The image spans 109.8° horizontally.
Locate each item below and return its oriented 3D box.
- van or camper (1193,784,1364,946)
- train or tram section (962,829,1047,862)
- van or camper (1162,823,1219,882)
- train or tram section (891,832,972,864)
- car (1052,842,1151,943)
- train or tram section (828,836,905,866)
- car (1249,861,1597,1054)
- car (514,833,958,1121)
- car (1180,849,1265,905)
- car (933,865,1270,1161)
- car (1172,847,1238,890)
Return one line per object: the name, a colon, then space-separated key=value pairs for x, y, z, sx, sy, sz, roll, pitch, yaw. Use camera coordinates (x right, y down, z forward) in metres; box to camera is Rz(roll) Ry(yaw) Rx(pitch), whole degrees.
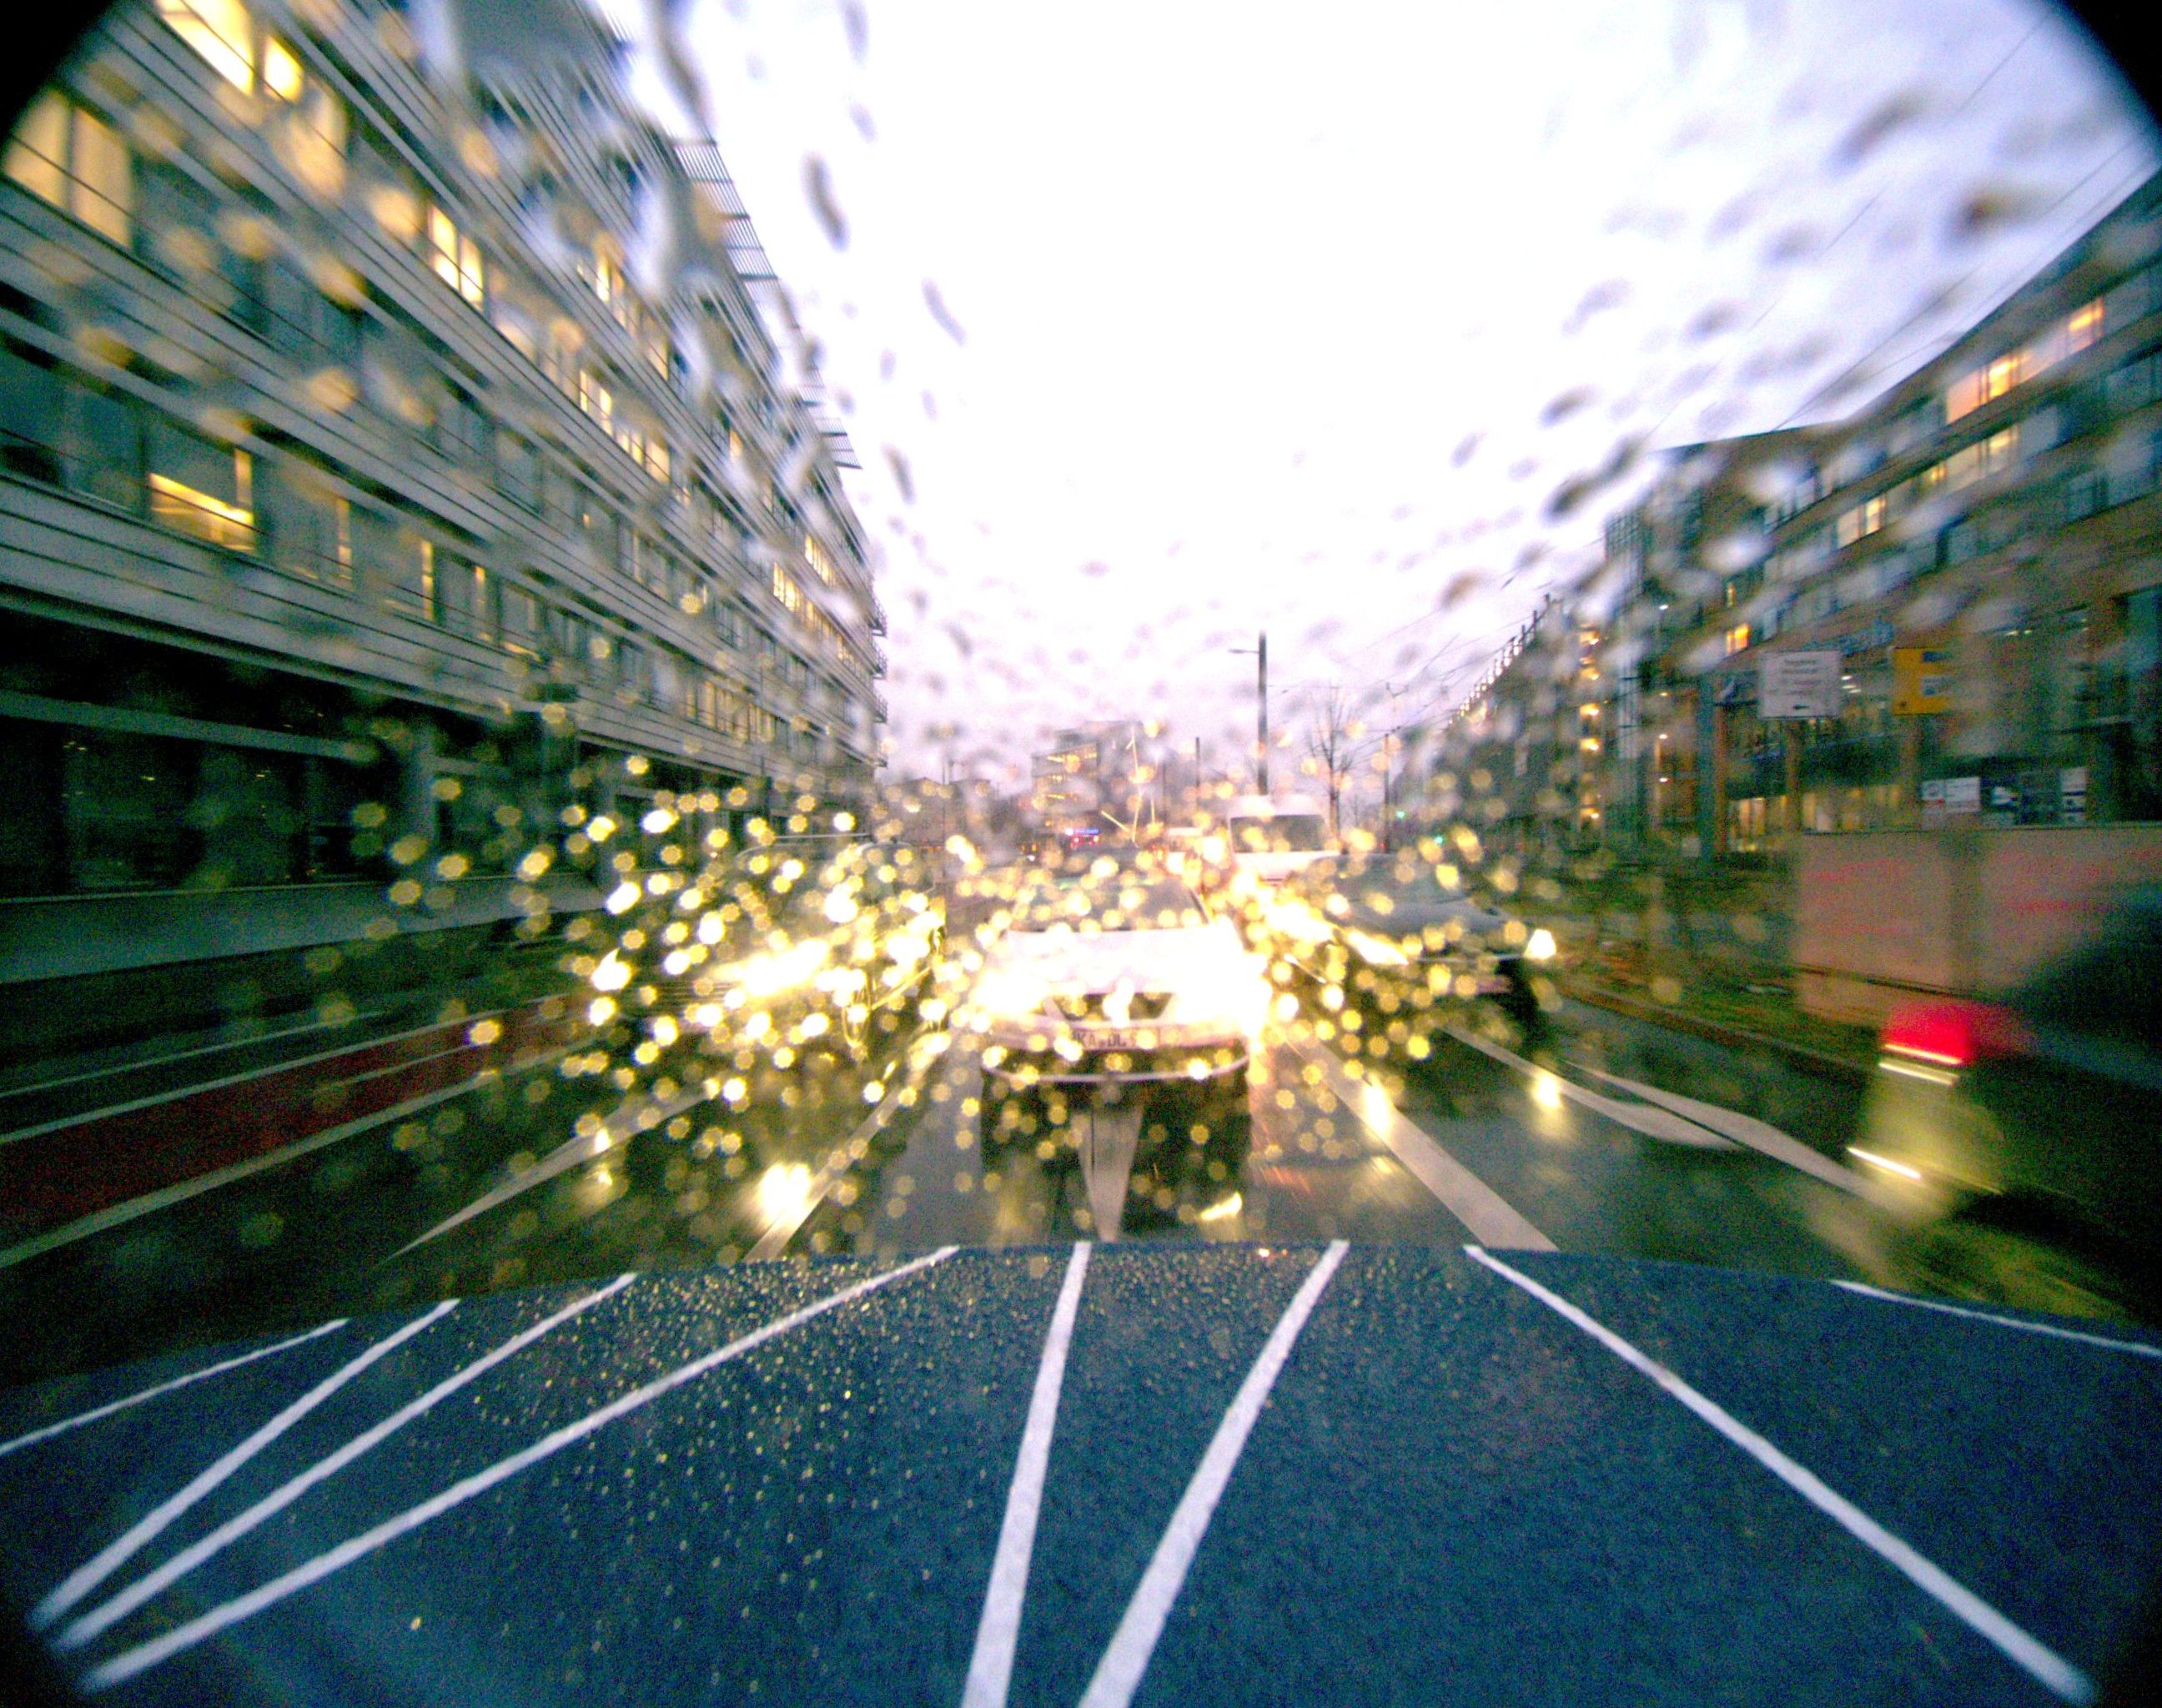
van or camper: x=3.608 y=0.124 z=15.166 sx=2.061 sy=2.533 sz=5.885 roll=-2 pitch=1 yaw=3
train or tram section: x=-12.643 y=-1.391 z=125.441 sx=13.362 sy=4.832 sz=3.742 roll=-2 pitch=1 yaw=14
van or camper: x=4.802 y=-0.085 z=34.050 sx=2.184 sy=2.339 sz=5.651 roll=-2 pitch=1 yaw=5
train or tram section: x=-25.462 y=-0.953 z=128.937 sx=13.355 sy=4.905 sz=3.744 roll=-2 pitch=1 yaw=22
car: x=0.436 y=0.662 z=15.289 sx=1.684 sy=1.723 sz=3.714 roll=-2 pitch=1 yaw=2
train or tram section: x=-37.821 y=-0.468 z=133.822 sx=13.355 sy=4.775 sz=3.744 roll=-2 pitch=1 yaw=22
car: x=3.082 y=0.819 z=7.937 sx=1.824 sy=1.324 sz=4.225 roll=-2 pitch=1 yaw=2
car: x=-2.619 y=0.779 z=7.267 sx=1.909 sy=1.809 sz=4.689 roll=-2 pitch=1 yaw=2
car: x=4.009 y=0.585 z=22.081 sx=1.824 sy=1.391 sz=3.952 roll=-2 pitch=1 yaw=2
car: x=0.185 y=0.905 z=6.241 sx=1.773 sy=1.449 sz=4.221 roll=-2 pitch=1 yaw=2
car: x=4.420 y=0.468 z=27.556 sx=1.824 sy=1.391 sz=3.952 roll=-2 pitch=1 yaw=2
